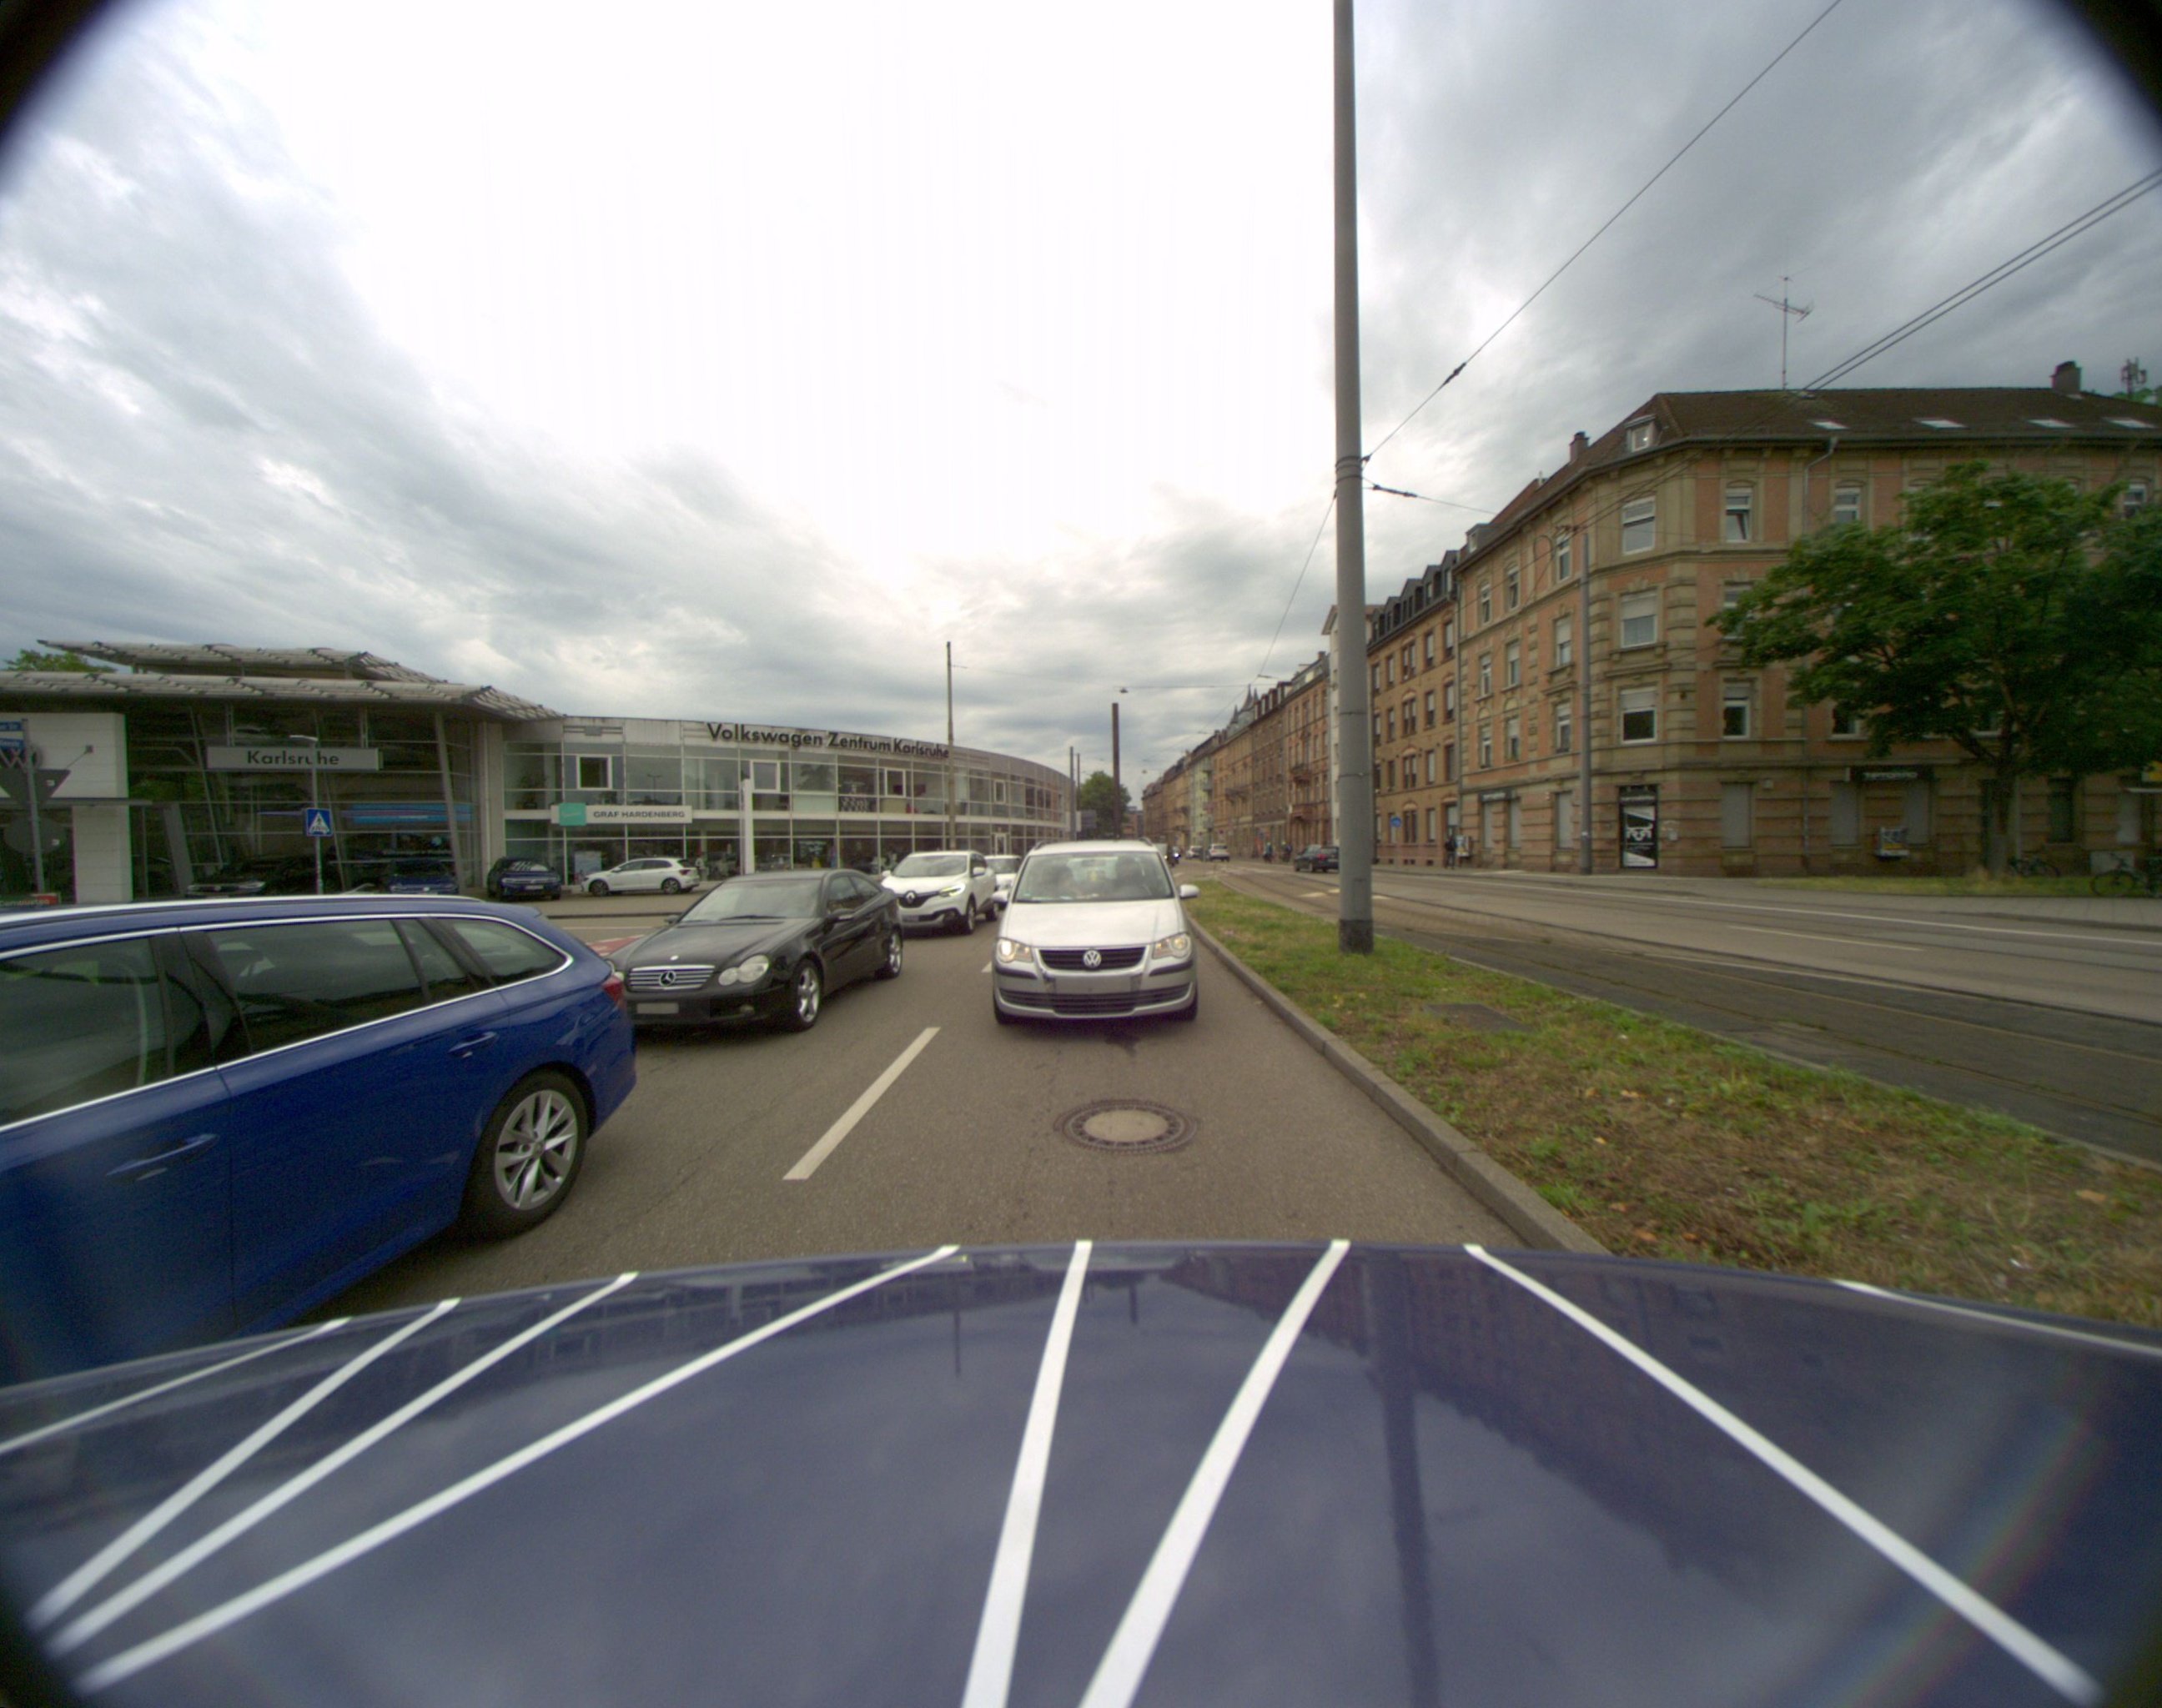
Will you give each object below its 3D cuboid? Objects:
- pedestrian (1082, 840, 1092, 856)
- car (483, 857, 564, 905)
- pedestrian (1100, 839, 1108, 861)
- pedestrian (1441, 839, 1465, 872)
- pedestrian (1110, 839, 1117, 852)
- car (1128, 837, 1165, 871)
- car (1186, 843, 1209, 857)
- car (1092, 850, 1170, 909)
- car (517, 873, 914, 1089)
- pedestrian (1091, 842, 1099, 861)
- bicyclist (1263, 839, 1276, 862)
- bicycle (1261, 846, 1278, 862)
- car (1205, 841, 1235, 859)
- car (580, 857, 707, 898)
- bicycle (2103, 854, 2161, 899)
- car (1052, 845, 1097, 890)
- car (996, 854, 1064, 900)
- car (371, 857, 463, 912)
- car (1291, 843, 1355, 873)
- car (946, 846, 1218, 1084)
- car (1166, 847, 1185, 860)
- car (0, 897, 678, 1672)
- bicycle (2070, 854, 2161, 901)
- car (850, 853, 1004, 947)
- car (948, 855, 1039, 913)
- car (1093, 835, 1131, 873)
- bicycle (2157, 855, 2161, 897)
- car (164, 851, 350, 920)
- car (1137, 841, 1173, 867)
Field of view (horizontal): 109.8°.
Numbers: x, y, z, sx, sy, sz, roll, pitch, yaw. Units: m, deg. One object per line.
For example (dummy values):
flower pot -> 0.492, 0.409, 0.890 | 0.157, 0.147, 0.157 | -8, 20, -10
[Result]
pedestrian -> 0.743, -0.772, 96.082 | 1.177, 2.002, 1.032 | -1, 1, 0
car -> -20.163, 0.907, 27.409 | 1.795, 1.552, 4.022 | -2, 1, -44
pedestrian -> 2.048, -0.365, 67.286 | 0.652, 1.904, 0.602 | -1, 1, 0
pedestrian -> 18.743, 0.070, 38.323 | 0.812, 1.666, 0.798 | -1, 1, -3
pedestrian -> 4.835, -1.270, 112.912 | 1.004, 2.002, 0.908 | -1, 1, 0
car -> 4.047, -0.050, 47.391 | 1.998, 2.002, 3.999 | -1, 1, 1
car -> 12.769, -0.456, 83.737 | 1.815, 1.423, 4.016 | -1, 1, -2
car -> 1.406, 0.637, 21.513 | 1.972, 1.447, 4.193 | -1, 1, 4
car -> -3.181, 0.997, 7.806 | 1.769, 1.362, 4.422 | -2, 1, 2
pedestrian -> 1.232, -0.206, 65.906 | 0.663, 1.671, 0.650 | -1, 1, -1
bicyclist -> 15.768, -0.302, 63.449 | 0.824, 1.856, 0.923 | -1, 1, 0
bicycle -> 15.763, -0.015, 63.600 | 0.799, 1.285, 2.410 | -1, 1, 0
car -> 12.975, -0.380, 71.136 | 1.835, 1.636, 4.229 | -1, 1, -2
car -> -17.025, 0.905, 29.736 | 3.907, 1.433, 1.731 | -1, 1, -10
bicycle -> 25.796, 0.543, 17.689 | 0.754, 1.024, 2.396 | -1, 1, 0
car -> -0.256, 0.601, 36.388 | 1.998, 2.002, 3.999 | -1, 1, 1
car -> -1.728, 0.772, 27.072 | 1.907, 1.428, 3.972 | -1, 1, 3
car -> -22.348, 0.954, 25.739 | 1.961, 1.517, 4.217 | -2, 3, -36
car -> 12.801, 0.170, 40.524 | 1.888, 1.462, 4.462 | -1, 1, -2
car -> 0.052, 0.757, 7.863 | 1.863, 1.609, 5.061 | -1, 1, 1
car -> 12.503, -0.112, 100.545 | 1.896, 1.693, 4.232 | -1, 1, -2
car -> -3.153, 1.013, 1.808 | 1.770, 1.428, 4.756 | -2, 1, 1
bicycle -> 25.015, 0.547, 17.697 | 0.837, 1.024, 2.396 | -1, 1, 0
car -> -2.864, 0.797, 15.155 | 1.982, 1.550, 4.145 | -1, 1, 3
car -> -2.393, 0.796, 21.850 | 1.907, 1.428, 3.972 | -1, 1, 3
car -> 1.685, -0.031, 42.088 | 1.998, 2.002, 3.999 | -1, 1, 1
bicycle -> 26.999, 0.547, 17.601 | 0.754, 1.024, 2.396 | -1, 1, 0
car -> -26.594, 0.919, 24.821 | 1.959, 1.635, 4.663 | -1, 5, -17
car -> 5.149, -0.017, 53.598 | 2.372, 1.745, 5.130 | -1, 1, 3
